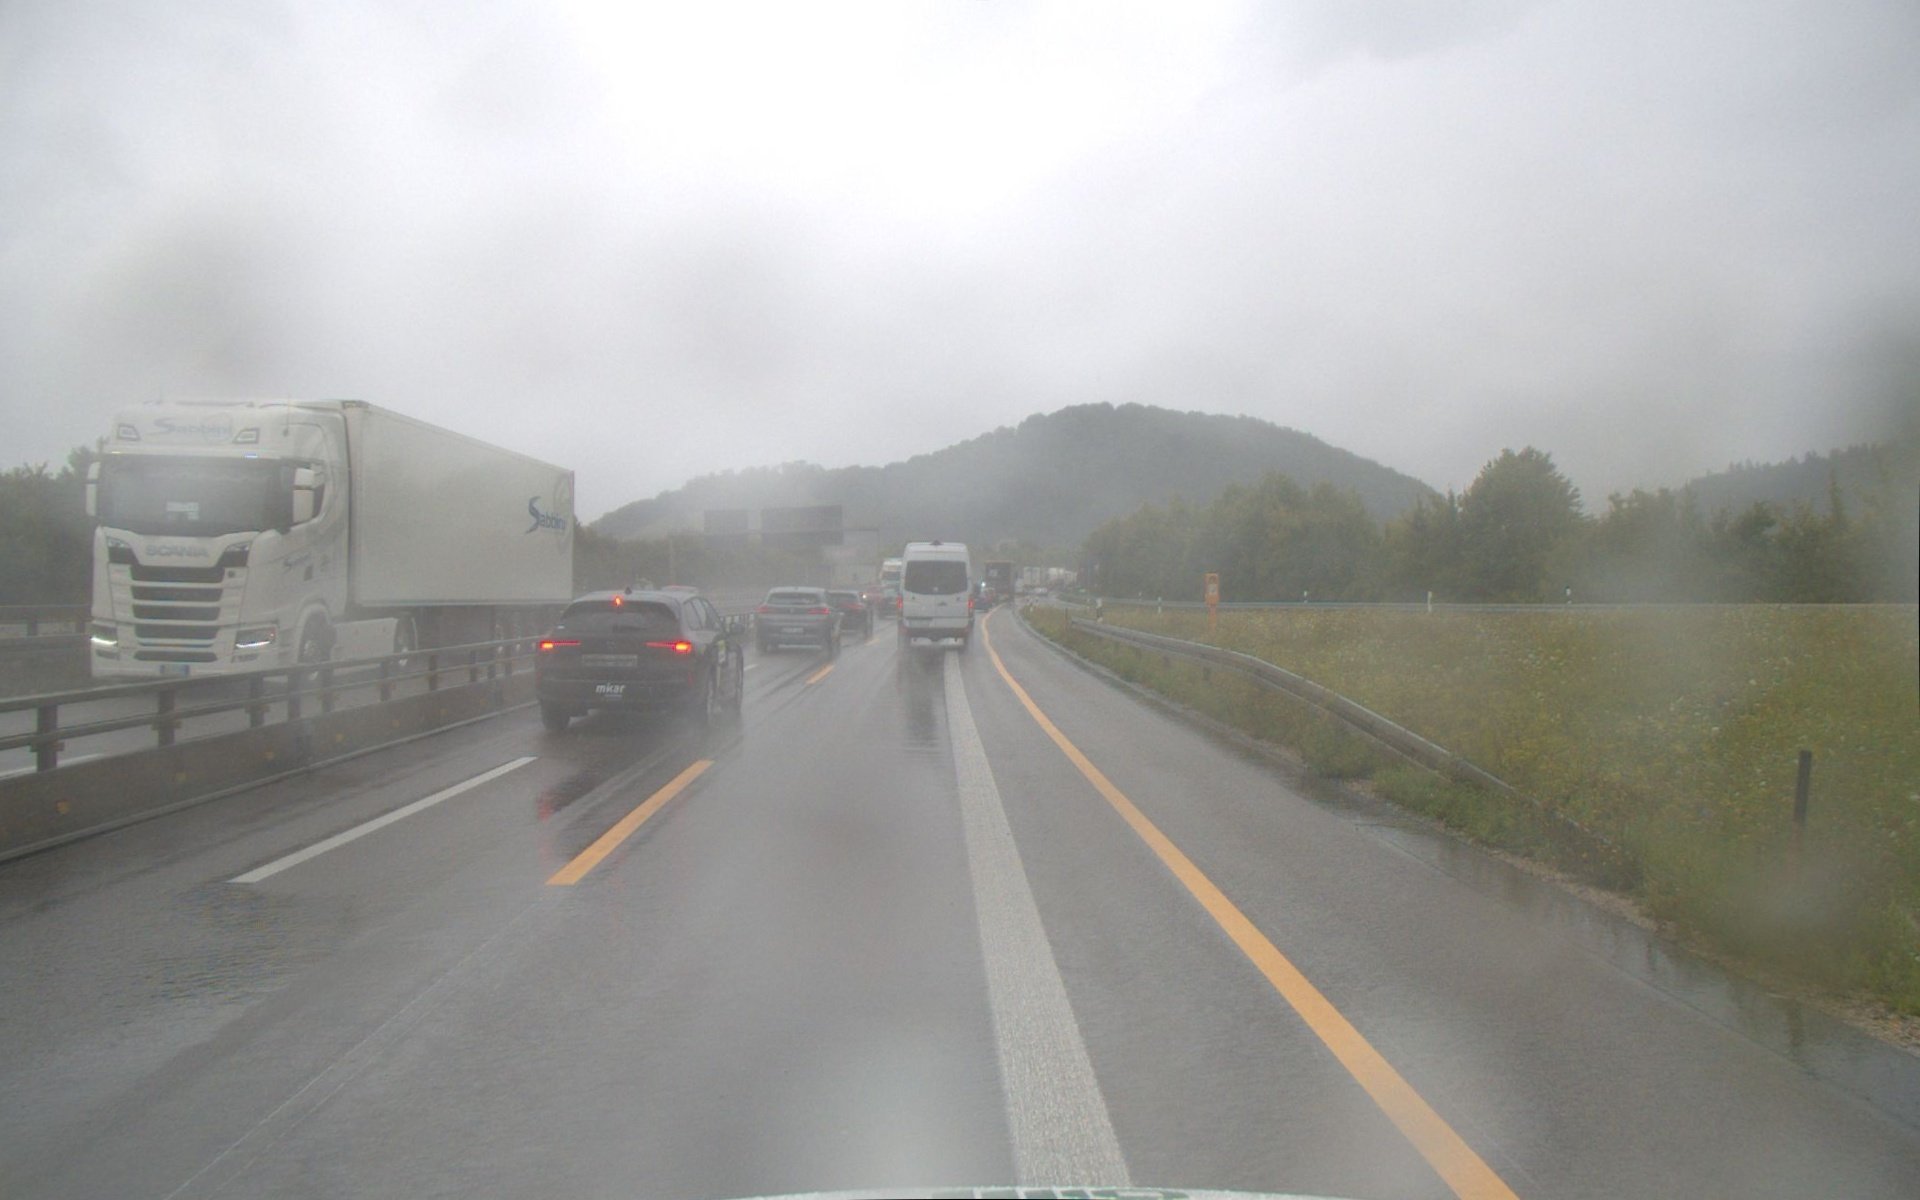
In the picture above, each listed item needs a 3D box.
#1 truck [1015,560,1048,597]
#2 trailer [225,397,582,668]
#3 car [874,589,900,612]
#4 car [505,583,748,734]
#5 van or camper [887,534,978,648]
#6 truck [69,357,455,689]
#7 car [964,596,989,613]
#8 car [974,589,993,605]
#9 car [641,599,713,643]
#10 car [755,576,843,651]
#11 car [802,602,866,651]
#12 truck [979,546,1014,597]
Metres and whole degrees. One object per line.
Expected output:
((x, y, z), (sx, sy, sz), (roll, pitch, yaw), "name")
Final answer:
((10.265, -3.006, 235.072), (3.845, 4.868, 9.914), (2, 0, 7), "truck")
((-9.960, -1.139, 31.602), (2.848, 4.161, 12.218), (0, 1, -1), "trailer")
((-3.608, 0.003, 82.036), (1.237, 1.097, 3.253), (0, 0, -1), "car")
((-3.567, 0.565, 18.574), (1.900, 1.452, 4.758), (1, 0, -2), "car")
((-0.774, -0.223, 42.842), (2.097, 2.769, 4.644), (0, 0, -4), "van or camper")
((-9.858, -1.022, 24.334), (2.825, 4.173, 6.925), (0, 1, -1), "truck")
((1.064, 0.271, 107.088), (1.357, 1.097, 3.120), (0, 0, -4), "car")
((1.812, -0.234, 128.455), (1.356, 1.278, 3.121), (0, 0, -2), "car")
((-10.244, 0.728, 60.149), (1.953, 1.532, 4.295), (1, 0, -1), "car")
((-3.801, 0.296, 39.579), (1.829, 1.688, 3.987), (0, 0, -2), "car")
((-4.171, 0.853, 55.208), (1.814, 1.527, 4.000), (0, 0, 0), "car")
((3.805, -2.848, 169.333), (3.251, 4.868, 9.909), (2, 0, 2), "truck")
